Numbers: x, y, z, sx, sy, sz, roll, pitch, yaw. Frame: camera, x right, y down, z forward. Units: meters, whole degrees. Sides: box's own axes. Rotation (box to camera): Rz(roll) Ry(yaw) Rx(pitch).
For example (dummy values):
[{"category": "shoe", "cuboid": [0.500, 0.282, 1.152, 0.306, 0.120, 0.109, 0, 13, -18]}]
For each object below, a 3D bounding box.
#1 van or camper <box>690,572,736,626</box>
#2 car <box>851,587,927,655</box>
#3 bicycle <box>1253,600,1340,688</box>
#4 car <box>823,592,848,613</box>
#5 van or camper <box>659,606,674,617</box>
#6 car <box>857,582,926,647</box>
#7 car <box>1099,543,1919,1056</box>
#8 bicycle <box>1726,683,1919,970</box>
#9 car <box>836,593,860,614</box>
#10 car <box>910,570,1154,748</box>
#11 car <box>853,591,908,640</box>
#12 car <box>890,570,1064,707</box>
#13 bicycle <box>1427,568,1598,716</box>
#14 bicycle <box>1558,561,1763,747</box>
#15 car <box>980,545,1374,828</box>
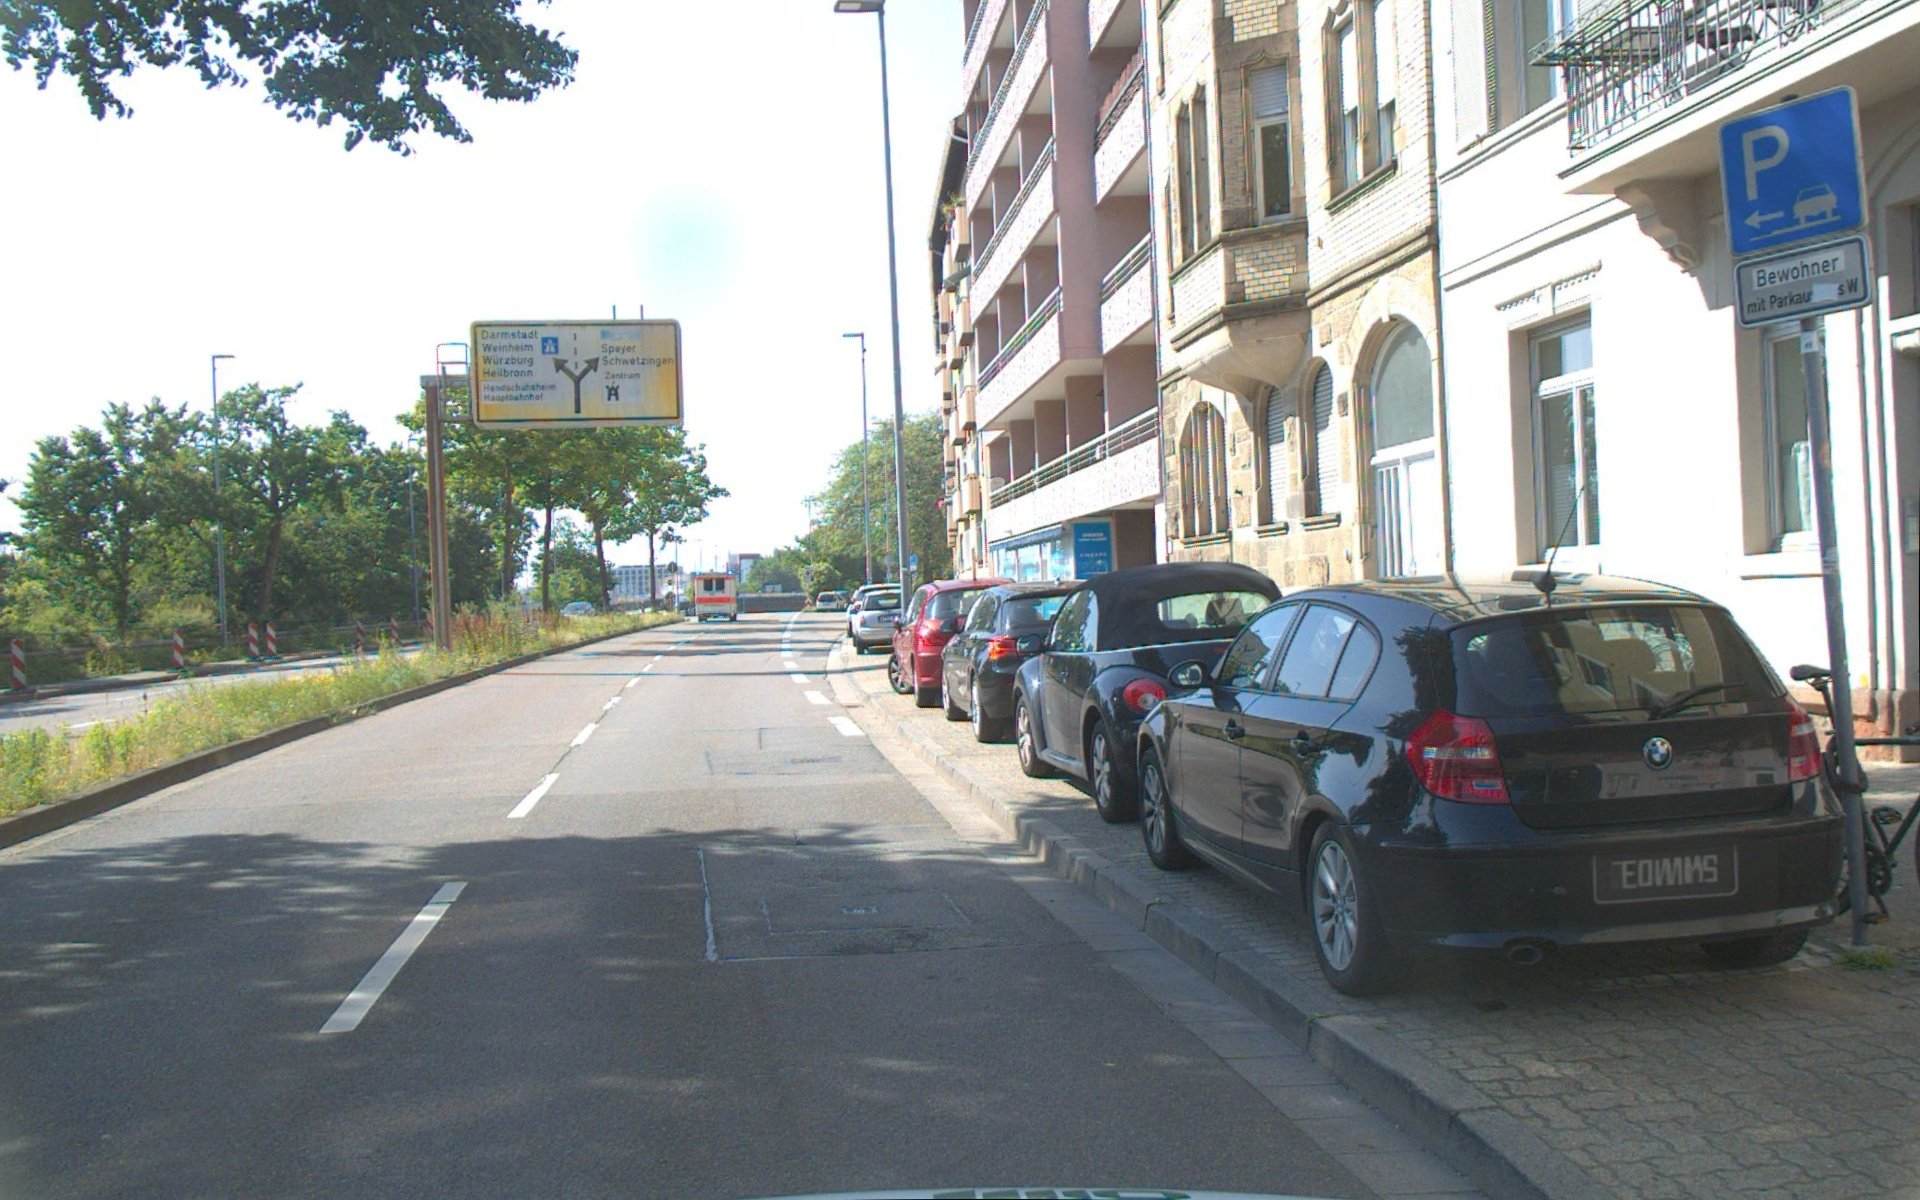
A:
[{"category": "van or camper", "cuboid": [-13.850, -0.073, 93.034, 2.253, 2.837, 5.562, -3, 0, -7]}, {"category": "car", "cuboid": [-1.715, 0.479, 39.833, 1.645, 1.433, 3.429, -4, 1, -3]}, {"category": "bicycle", "cuboid": [3.985, 0.501, 19.690, 0.498, 0.987, 1.650, -3, 0, -6]}, {"category": "car", "cuboid": [-9.424, 0.210, 125.528, 1.586, 1.531, 3.462, -1, 0, 1]}, {"category": "van or camper", "cuboid": [-37.911, 1.487, 213.713, 1.438, 1.373, 4.625, -2, 0, -6]}, {"category": "car", "cuboid": [-1.888, 0.361, 44.760, 1.702, 1.568, 4.350, -3, 0, -4]}, {"category": "car", "cuboid": [1.926, 0.591, 7.033, 1.708, 1.441, 4.072, -3, 0, -9]}, {"category": "bicycle", "cuboid": [3.446, 0.800, 5.864, 0.440, 0.907, 1.577, -4, 0, -11]}, {"category": "car", "cuboid": [-9.166, 0.304, 135.674, 1.736, 1.607, 4.184, -3, 0, -2]}, {"category": "car", "cuboid": [0.580, 0.516, 16.570, 1.612, 1.478, 4.118, -3, 0, -9]}, {"category": "car", "cuboid": [-2.657, 0.488, 54.486, 1.721, 1.532, 4.124, -1, 0, -4]}, {"category": "car", "cuboid": [0.126, 0.454, 21.689, 1.751, 1.508, 3.995, -4, 0, -6]}, {"category": "bicycle", "cuboid": [4.766, 0.344, 14.385, 0.643, 1.166, 1.622, -4, 1, -10]}, {"category": "bicycle", "cuboid": [5.126, 0.353, 12.204, 0.555, 1.200, 1.623, -4, 3, -10]}, {"category": "car", "cuboid": [1.306, 0.501, 11.612, 1.612, 1.527, 4.002, -4, 0, -9]}]
